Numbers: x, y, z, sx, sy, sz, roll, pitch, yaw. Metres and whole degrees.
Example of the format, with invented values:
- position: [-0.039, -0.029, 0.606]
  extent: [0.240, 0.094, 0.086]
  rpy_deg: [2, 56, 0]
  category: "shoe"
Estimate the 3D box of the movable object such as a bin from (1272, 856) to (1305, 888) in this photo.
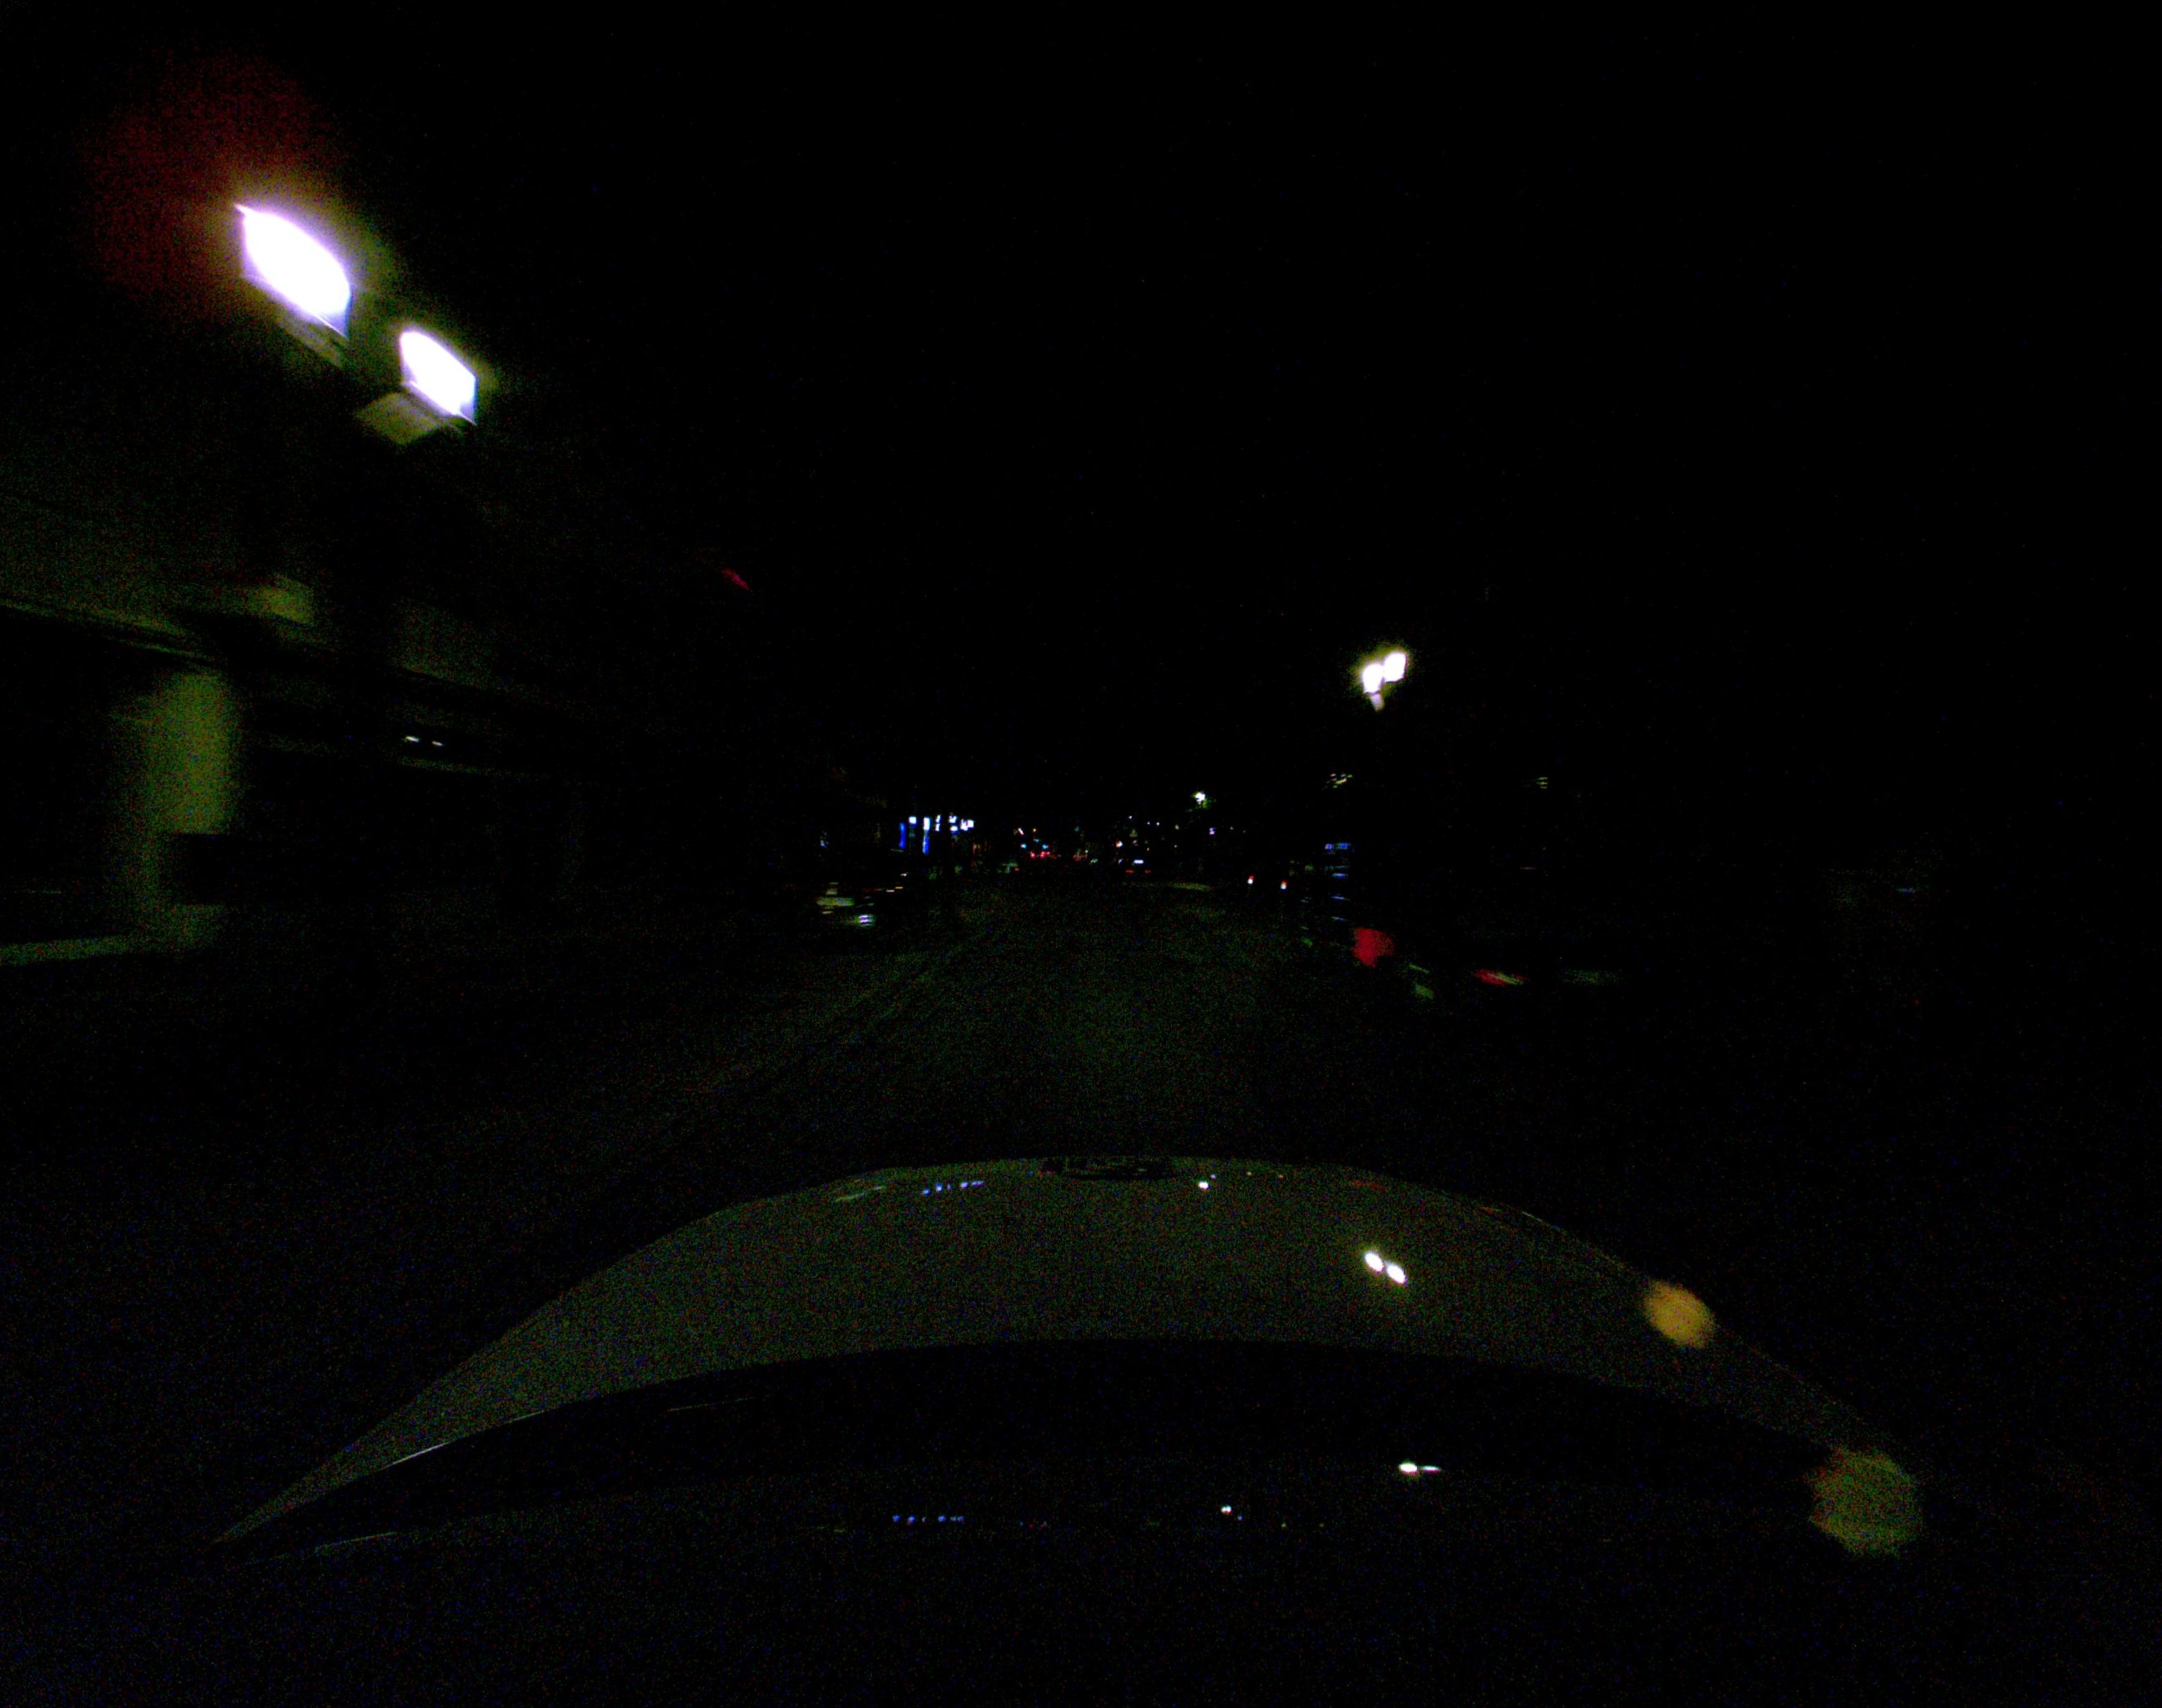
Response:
- position: [9.134, 0.787, 35.843]
  extent: [1.102, 1.307, 1.008]
  rpy_deg: [3, -1, -5]
  category: "movable object such as a bin"

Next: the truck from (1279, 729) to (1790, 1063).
- position: [3.893, 0.288, 8.625]
  extent: [2.327, 2.312, 5.783]
  rpy_deg: [1, 0, 2]
  category: "truck"

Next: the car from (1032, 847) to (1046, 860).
- position: [-6.206, -0.030, 120.375]
  extent: [1.990, 1.823, 3.994]
  rpy_deg: [2, 0, -4]
  category: "car"

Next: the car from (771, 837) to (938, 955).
- position: [-3.436, 0.567, 13.144]
  extent: [1.670, 1.543, 4.225]
  rpy_deg: [2, 0, -3]
  category: "car"

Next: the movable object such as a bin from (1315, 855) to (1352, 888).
- position: [11.164, 0.768, 35.984]
  extent: [1.258, 1.419, 1.116]
  rpy_deg: [1, -1, -3]
  category: "movable object such as a bin"

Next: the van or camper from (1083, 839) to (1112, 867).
- position: [1.355, -0.114, 70.058]
  extent: [2.105, 2.317, 4.255]
  rpy_deg: [0, 0, -4]
  category: "van or camper"

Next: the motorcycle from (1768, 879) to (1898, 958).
- position: [11.941, 1.012, 12.950]
  extent: [1.626, 1.186, 0.560]
  rpy_deg: [2, 0, -4]
  category: "motorcycle"

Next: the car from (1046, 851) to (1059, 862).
- position: [-4.066, 0.384, 116.412]
  extent: [1.835, 1.542, 3.841]
  rpy_deg: [1, 0, -3]
  category: "car"

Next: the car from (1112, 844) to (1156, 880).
- position: [2.830, 0.387, 44.002]
  extent: [1.811, 1.828, 4.341]
  rpy_deg: [1, 0, -4]
  category: "car"

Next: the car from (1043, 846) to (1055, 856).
- position: [-5.836, -0.592, 148.583]
  extent: [1.990, 1.823, 3.994]
  rpy_deg: [2, 0, -4]
  category: "car"

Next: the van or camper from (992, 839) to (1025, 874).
- position: [-4.511, 0.152, 50.845]
  extent: [1.863, 2.011, 4.255]
  rpy_deg: [3, 0, -4]
  category: "van or camper"

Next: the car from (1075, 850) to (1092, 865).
- position: [0.255, 0.343, 82.828]
  extent: [1.527, 1.418, 3.841]
  rpy_deg: [1, 0, -3]
  category: "car"

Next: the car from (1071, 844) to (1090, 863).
- position: [-0.066, -0.057, 88.844]
  extent: [1.835, 1.901, 3.841]
  rpy_deg: [1, 0, -3]
  category: "car"
